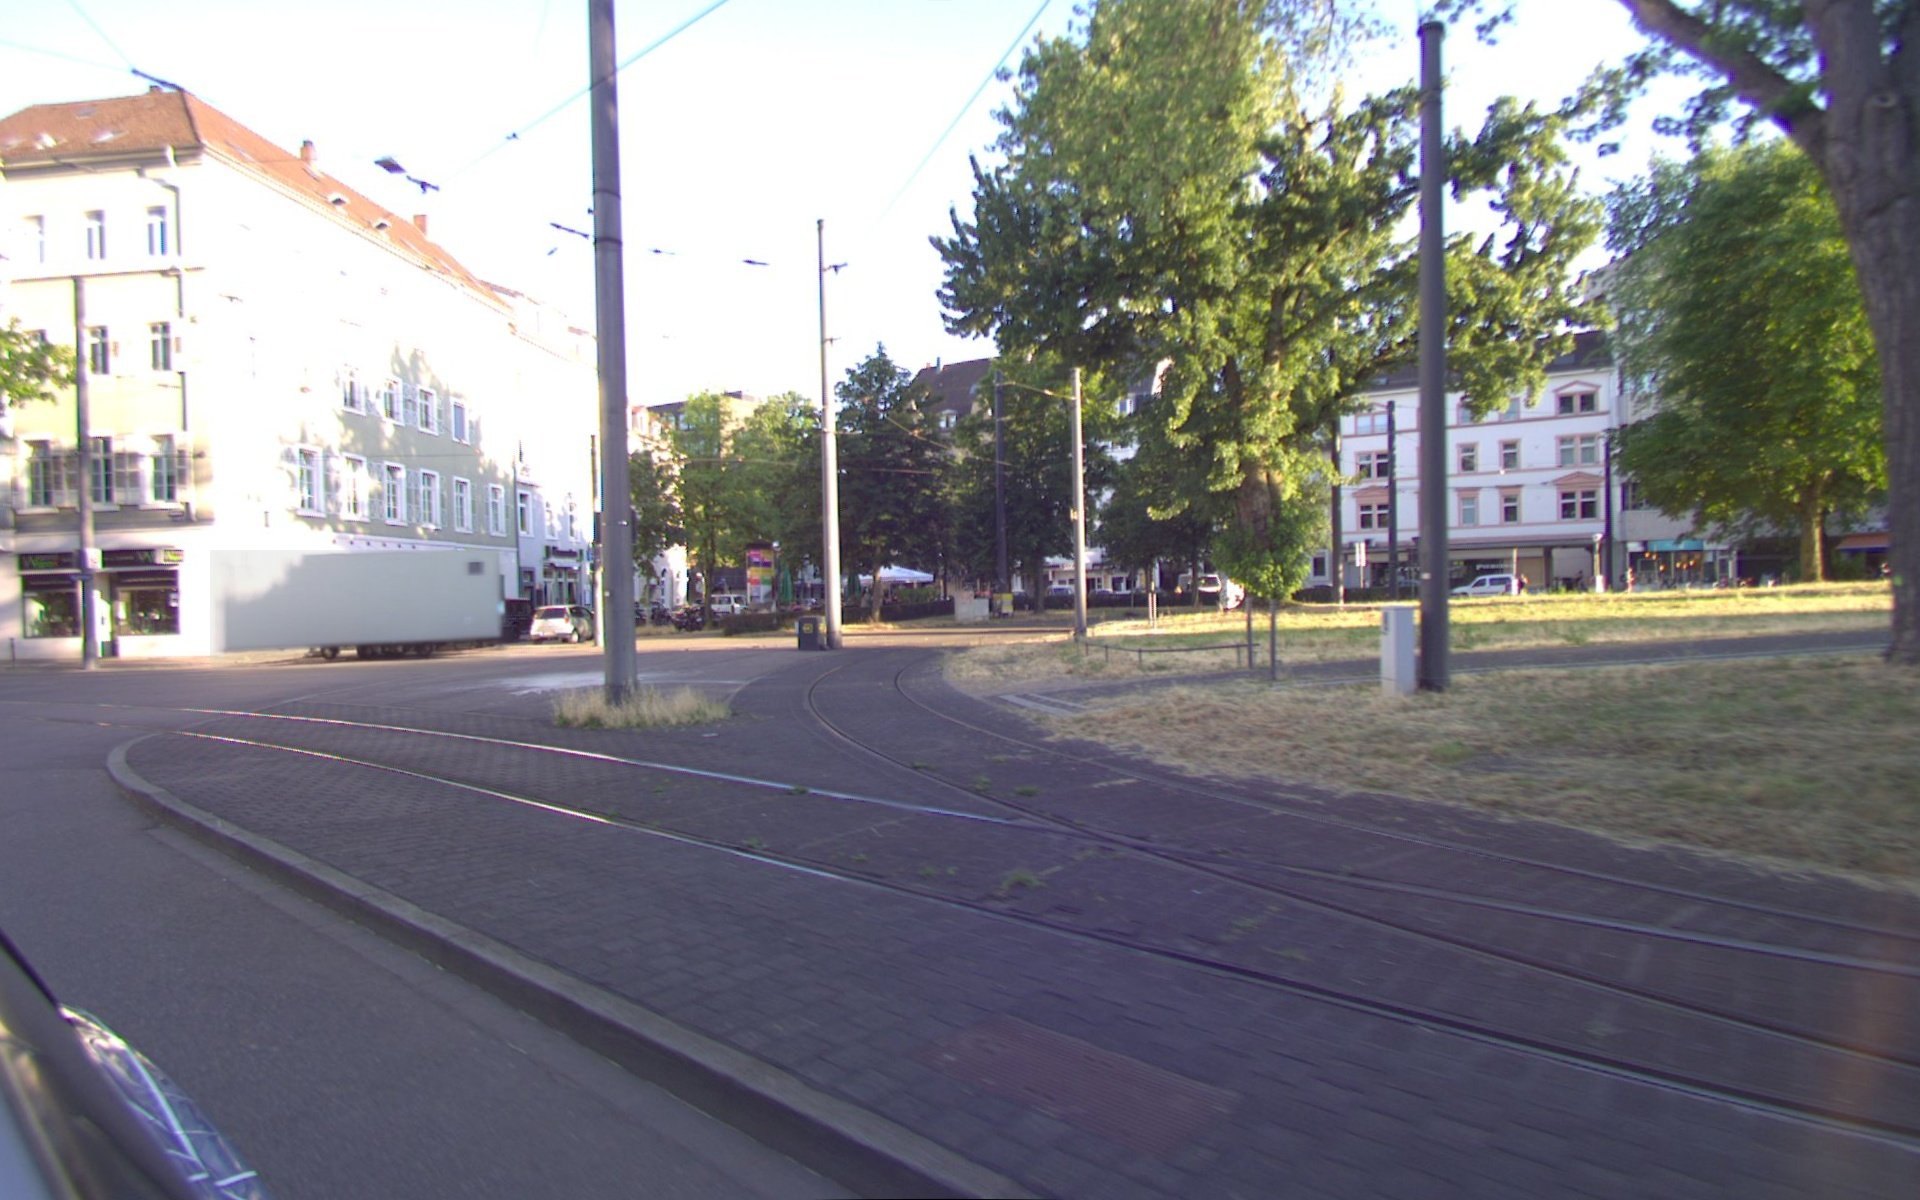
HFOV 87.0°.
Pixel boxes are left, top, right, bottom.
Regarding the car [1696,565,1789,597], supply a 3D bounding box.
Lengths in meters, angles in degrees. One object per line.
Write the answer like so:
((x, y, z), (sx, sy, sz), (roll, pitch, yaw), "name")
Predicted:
((48.764, -1.164, 63.165), (4.188, 1.808, 1.922), (-2, 0, 27), "car")

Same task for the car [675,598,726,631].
((-14.653, 0.797, 57.365), (1.834, 1.719, 4.000), (-2, 0, 0), "car")

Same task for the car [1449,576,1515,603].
((36.072, -0.733, 70.053), (3.980, 1.676, 1.744), (-2, 0, 27), "car")

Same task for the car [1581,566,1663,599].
((42.975, -1.131, 65.819), (4.188, 1.959, 1.744), (-2, 0, 27), "car")

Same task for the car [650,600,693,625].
((-20.148, 0.872, 70.933), (1.834, 1.655, 4.000), (-2, 0, 0), "car")

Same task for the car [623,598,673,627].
((-19.499, 0.761, 63.409), (1.834, 1.719, 4.000), (-2, 0, 0), "car")

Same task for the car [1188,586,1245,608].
((19.984, -0.240, 78.830), (3.985, 1.592, 1.779), (-2, 0, 31), "car")

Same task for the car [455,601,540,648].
((-20.765, 1.061, 45.639), (1.972, 1.918, 4.000), (-2, 0, 0), "car")

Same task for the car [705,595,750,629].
((-14.460, 0.720, 63.057), (1.834, 2.014, 4.000), (-2, 0, 0), "car")

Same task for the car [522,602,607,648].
((-15.924, 0.964, 40.999), (1.834, 1.719, 4.000), (-2, 0, 0), "car")

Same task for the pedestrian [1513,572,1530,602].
((32.905, -0.746, 59.267), (0.796, 1.714, 0.792), (-2, 0, 29), "pedestrian")

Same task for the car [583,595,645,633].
((-18.845, 0.764, 55.353), (1.972, 1.918, 4.000), (-2, 0, 0), "car")

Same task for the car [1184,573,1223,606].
((16.178, -0.688, 67.345), (1.976, 2.029, 3.992), (-2, 0, 7), "car")

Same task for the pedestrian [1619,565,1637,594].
((40.087, -1.233, 60.757), (0.797, 1.714, 0.792), (-2, 1, 31), "pedestrian")
